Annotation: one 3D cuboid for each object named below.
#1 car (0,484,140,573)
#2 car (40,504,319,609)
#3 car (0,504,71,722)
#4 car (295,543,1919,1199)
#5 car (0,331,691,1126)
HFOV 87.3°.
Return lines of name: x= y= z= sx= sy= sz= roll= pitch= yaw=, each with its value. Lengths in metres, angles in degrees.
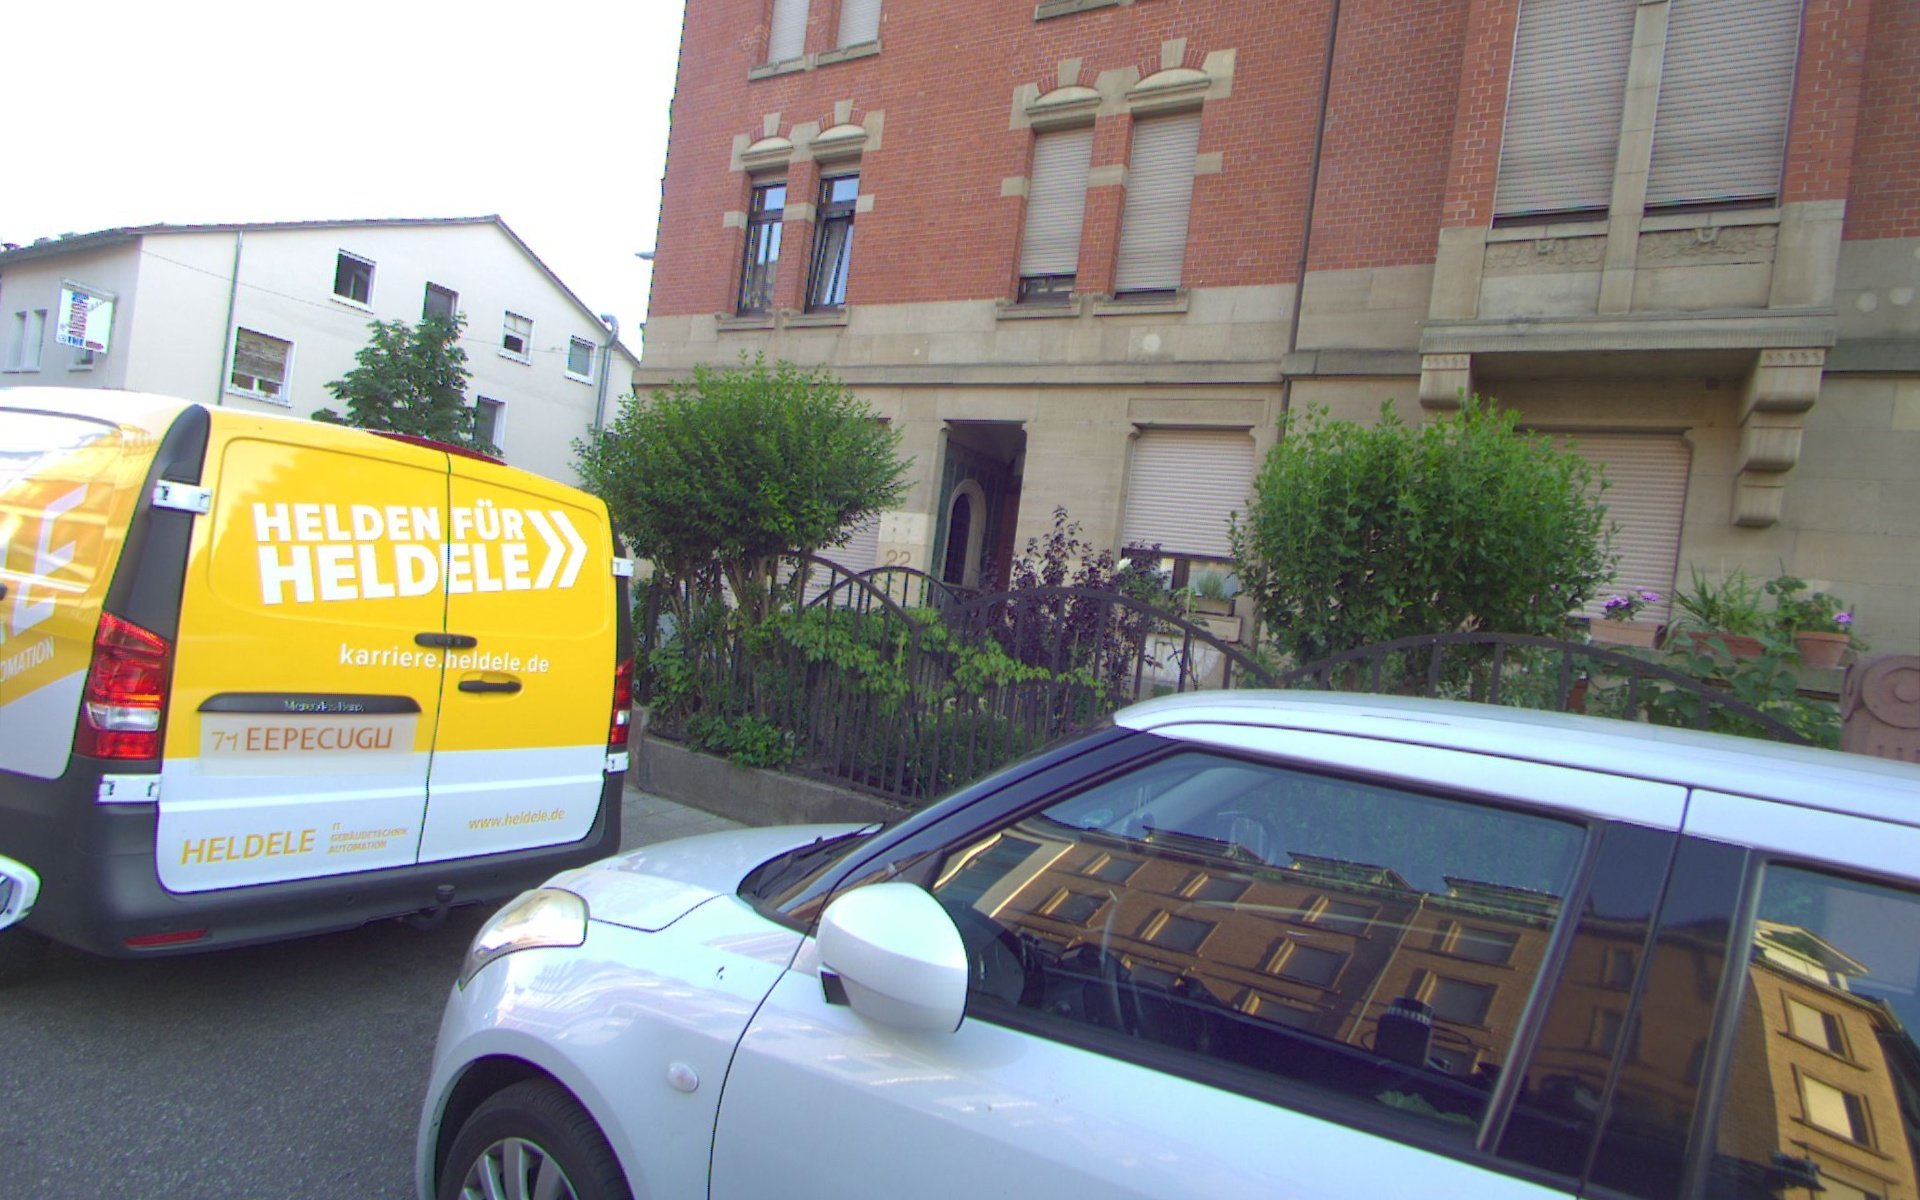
car: x=-19.800 y=-1.601 z=20.750 sx=1.727 sy=1.533 sz=4.054 roll=9 pitch=1 yaw=32
car: x=-15.221 y=-0.790 z=19.835 sx=1.630 sy=1.473 sz=3.934 roll=8 pitch=0 yaw=31
car: x=-8.438 y=-0.186 z=7.275 sx=4.182 sy=1.440 sz=1.725 roll=7 pitch=-2 yaw=31
car: x=0.714 y=0.898 z=1.734 sx=3.799 sy=1.494 sz=1.677 roll=7 pitch=-1 yaw=34
car: x=-3.799 y=0.129 z=4.497 sx=4.996 sy=1.906 sz=1.897 roll=7 pitch=-1 yaw=31
